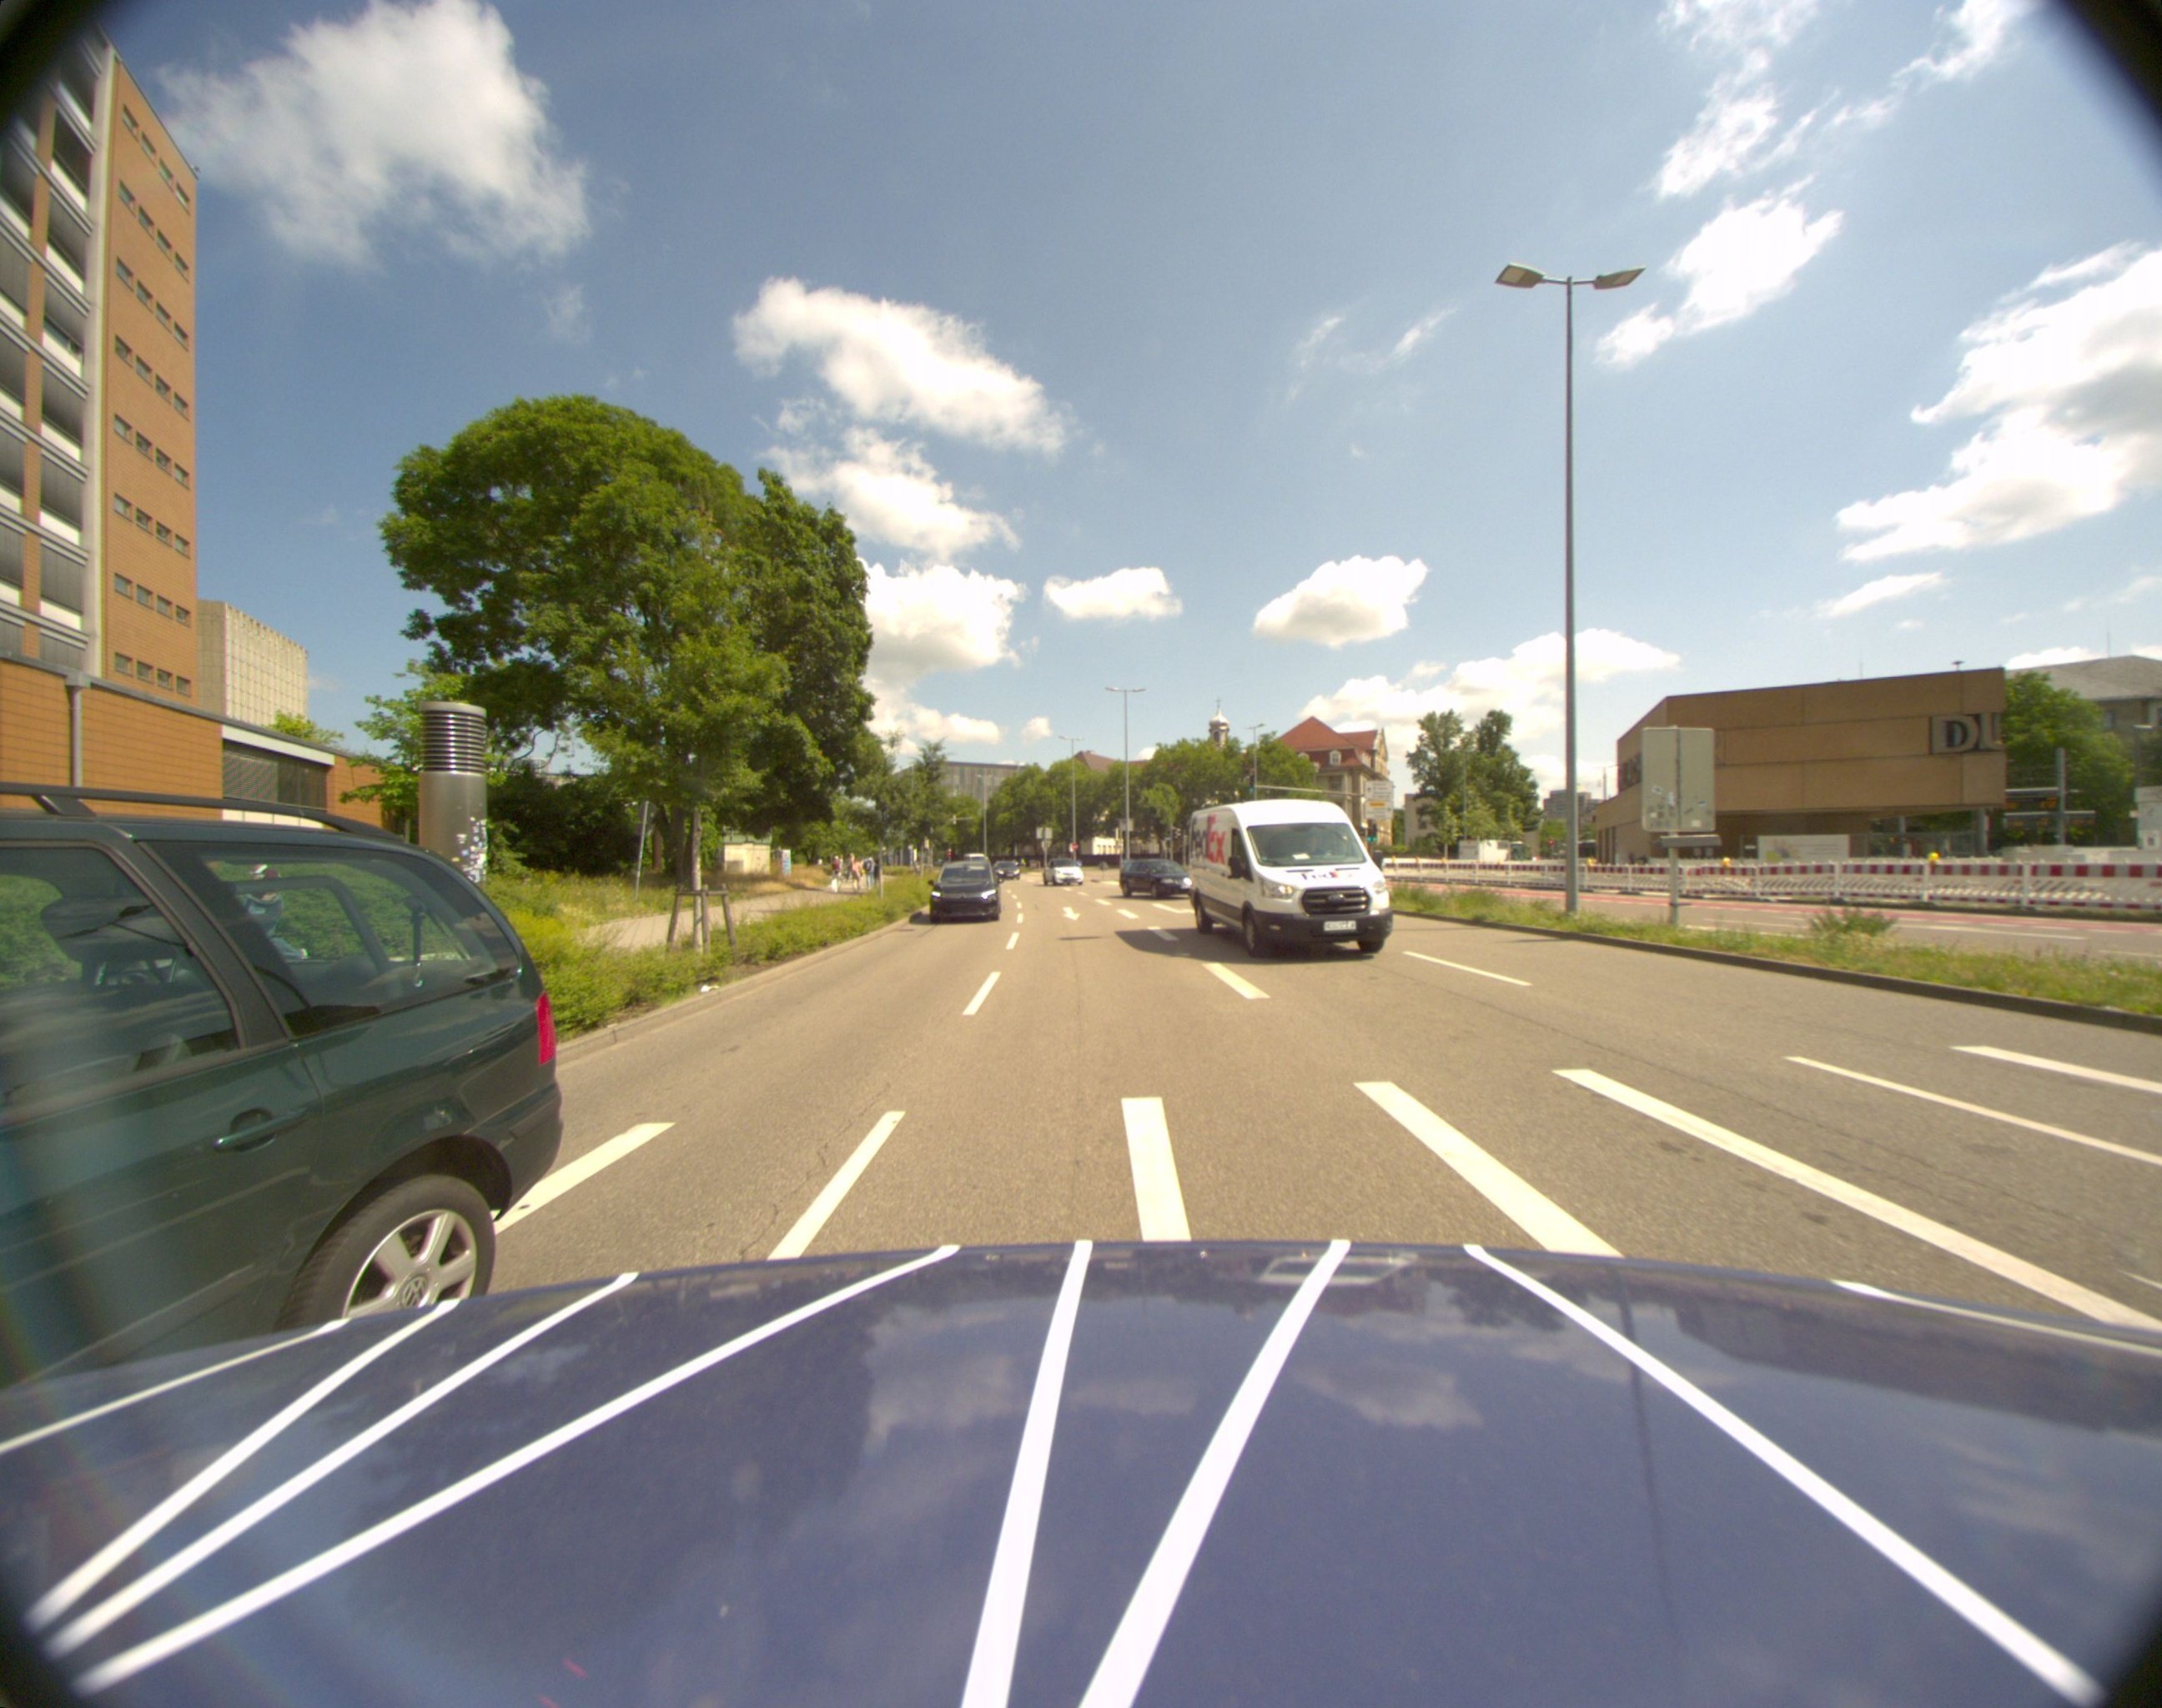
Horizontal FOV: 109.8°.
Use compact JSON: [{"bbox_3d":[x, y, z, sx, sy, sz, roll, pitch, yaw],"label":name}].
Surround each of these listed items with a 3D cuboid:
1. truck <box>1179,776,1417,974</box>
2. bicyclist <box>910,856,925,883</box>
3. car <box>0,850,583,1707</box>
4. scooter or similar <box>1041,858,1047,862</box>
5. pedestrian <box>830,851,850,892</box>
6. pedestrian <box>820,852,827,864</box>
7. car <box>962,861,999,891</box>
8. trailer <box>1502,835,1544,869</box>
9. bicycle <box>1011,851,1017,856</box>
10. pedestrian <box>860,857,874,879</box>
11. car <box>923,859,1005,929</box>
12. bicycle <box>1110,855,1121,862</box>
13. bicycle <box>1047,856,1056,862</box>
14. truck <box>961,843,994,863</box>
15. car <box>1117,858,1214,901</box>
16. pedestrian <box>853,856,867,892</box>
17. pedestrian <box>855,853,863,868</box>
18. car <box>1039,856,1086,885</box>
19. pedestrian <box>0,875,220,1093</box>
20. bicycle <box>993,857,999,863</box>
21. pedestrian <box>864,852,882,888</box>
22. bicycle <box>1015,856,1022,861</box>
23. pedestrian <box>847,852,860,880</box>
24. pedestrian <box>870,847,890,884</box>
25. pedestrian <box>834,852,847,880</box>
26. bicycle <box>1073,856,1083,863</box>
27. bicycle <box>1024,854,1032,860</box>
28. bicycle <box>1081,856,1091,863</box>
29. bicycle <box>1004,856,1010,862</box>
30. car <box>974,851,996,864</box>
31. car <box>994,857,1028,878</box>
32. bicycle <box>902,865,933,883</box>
[{"bbox_3d":[3.338,0.291,13.253,2.143,2.624,5.916,-2,0,-3],"label":"truck"},{"bbox_3d":[-9.998,0.942,46.473,0.831,1.592,0.579,2,1,-17],"label":"bicyclist"},{"bbox_3d":[-2.859,0.905,0.670,1.799,1.713,4.447,-3,1,0],"label":"car"},{"bbox_3d":[-6.444,1.027,133.250,1.066,0.789,0.354,0,1,41],"label":"scooter or similar"},{"bbox_3d":[-11.059,0.788,34.878,0.759,1.811,0.637,-2,2,-16],"label":"pedestrian"},{"bbox_3d":[-38.908,0.591,114.629,0.846,1.755,0.840,-2,2,-24],"label":"pedestrian"},{"bbox_3d":[-5.557,1.166,41.723,1.767,1.409,4.359,-3,1,-10],"label":"car"},{"bbox_3d":[39.426,-0.224,67.824,1.997,2.897,4.369,-1,1,12],"label":"trailer"},{"bbox_3d":[-12.608,-0.053,142.554,0.383,1.037,1.666,-1,0,-36],"label":"bicycle"},{"bbox_3d":[-15.908,1.032,56.427,0.753,1.586,0.879,1,0,-31],"label":"pedestrian"},{"bbox_3d":[-3.193,1.030,21.542,1.863,1.613,4.518,-3,1,-4],"label":"car"},{"bbox_3d":[5.550,0.738,121.853,2.033,1.130,0.399,0,1,42],"label":"bicycle"},{"bbox_3d":[-5.204,0.882,132.778,0.399,1.037,1.952,-1,1,-41],"label":"bicycle"},{"bbox_3d":[-12.753,-0.078,93.097,2.466,2.287,5.804,-3,1,-23],"label":"truck"},{"bbox_3d":[3.068,0.916,28.618,1.754,1.426,4.513,-2,0,-20],"label":"car"},{"bbox_3d":[-10.188,0.929,35.035,0.589,1.617,0.726,-2,2,-16],"label":"pedestrian"},{"bbox_3d":[-24.796,0.729,84.799,0.669,1.736,0.608,1,0,-30],"label":"pedestrian"},{"bbox_3d":[-1.132,0.923,44.796,1.753,1.496,4.514,-3,1,-14],"label":"car"},{"bbox_3d":[-7.715,0.984,6.053,0.758,1.580,0.761,-2,2,-1],"label":"pedestrian"},{"bbox_3d":[-16.552,1.098,147.744,0.383,1.101,1.666,-1,0,-35],"label":"bicycle"},{"bbox_3d":[-10.733,0.819,39.223,0.759,1.810,0.778,3,0,-22],"label":"pedestrian"},{"bbox_3d":[-11.584,0.810,141.113,0.383,1.037,1.666,-1,0,-36],"label":"bicycle"},{"bbox_3d":[-14.253,0.757,47.696,0.753,1.791,0.608,1,0,-17],"label":"pedestrian"},{"bbox_3d":[-8.975,0.488,33.901,0.652,1.616,0.774,2,1,0],"label":"pedestrian"},{"bbox_3d":[-14.910,0.747,47.133,0.753,1.742,0.608,1,0,-17],"label":"pedestrian"},{"bbox_3d":[-0.563,0.911,127.673,0.399,1.037,1.952,-1,1,-43],"label":"bicycle"},{"bbox_3d":[-9.693,0.483,138.579,0.399,1.037,1.757,-1,0,-38],"label":"bicycle"},{"bbox_3d":[0.816,0.900,126.183,0.399,1.037,1.952,-1,1,-43],"label":"bicycle"},{"bbox_3d":[-14.094,0.954,144.222,0.383,1.037,1.666,-1,0,-36],"label":"bicycle"},{"bbox_3d":[-13.974,0.483,110.147,1.889,1.883,4.860,-1,0,-23],"label":"car"},{"bbox_3d":[-5.552,1.059,59.551,1.754,1.496,4.514,-3,1,-16],"label":"car"},{"bbox_3d":[-10.010,1.221,46.476,1.817,1.044,0.591,2,1,-17],"label":"bicycle"}]
